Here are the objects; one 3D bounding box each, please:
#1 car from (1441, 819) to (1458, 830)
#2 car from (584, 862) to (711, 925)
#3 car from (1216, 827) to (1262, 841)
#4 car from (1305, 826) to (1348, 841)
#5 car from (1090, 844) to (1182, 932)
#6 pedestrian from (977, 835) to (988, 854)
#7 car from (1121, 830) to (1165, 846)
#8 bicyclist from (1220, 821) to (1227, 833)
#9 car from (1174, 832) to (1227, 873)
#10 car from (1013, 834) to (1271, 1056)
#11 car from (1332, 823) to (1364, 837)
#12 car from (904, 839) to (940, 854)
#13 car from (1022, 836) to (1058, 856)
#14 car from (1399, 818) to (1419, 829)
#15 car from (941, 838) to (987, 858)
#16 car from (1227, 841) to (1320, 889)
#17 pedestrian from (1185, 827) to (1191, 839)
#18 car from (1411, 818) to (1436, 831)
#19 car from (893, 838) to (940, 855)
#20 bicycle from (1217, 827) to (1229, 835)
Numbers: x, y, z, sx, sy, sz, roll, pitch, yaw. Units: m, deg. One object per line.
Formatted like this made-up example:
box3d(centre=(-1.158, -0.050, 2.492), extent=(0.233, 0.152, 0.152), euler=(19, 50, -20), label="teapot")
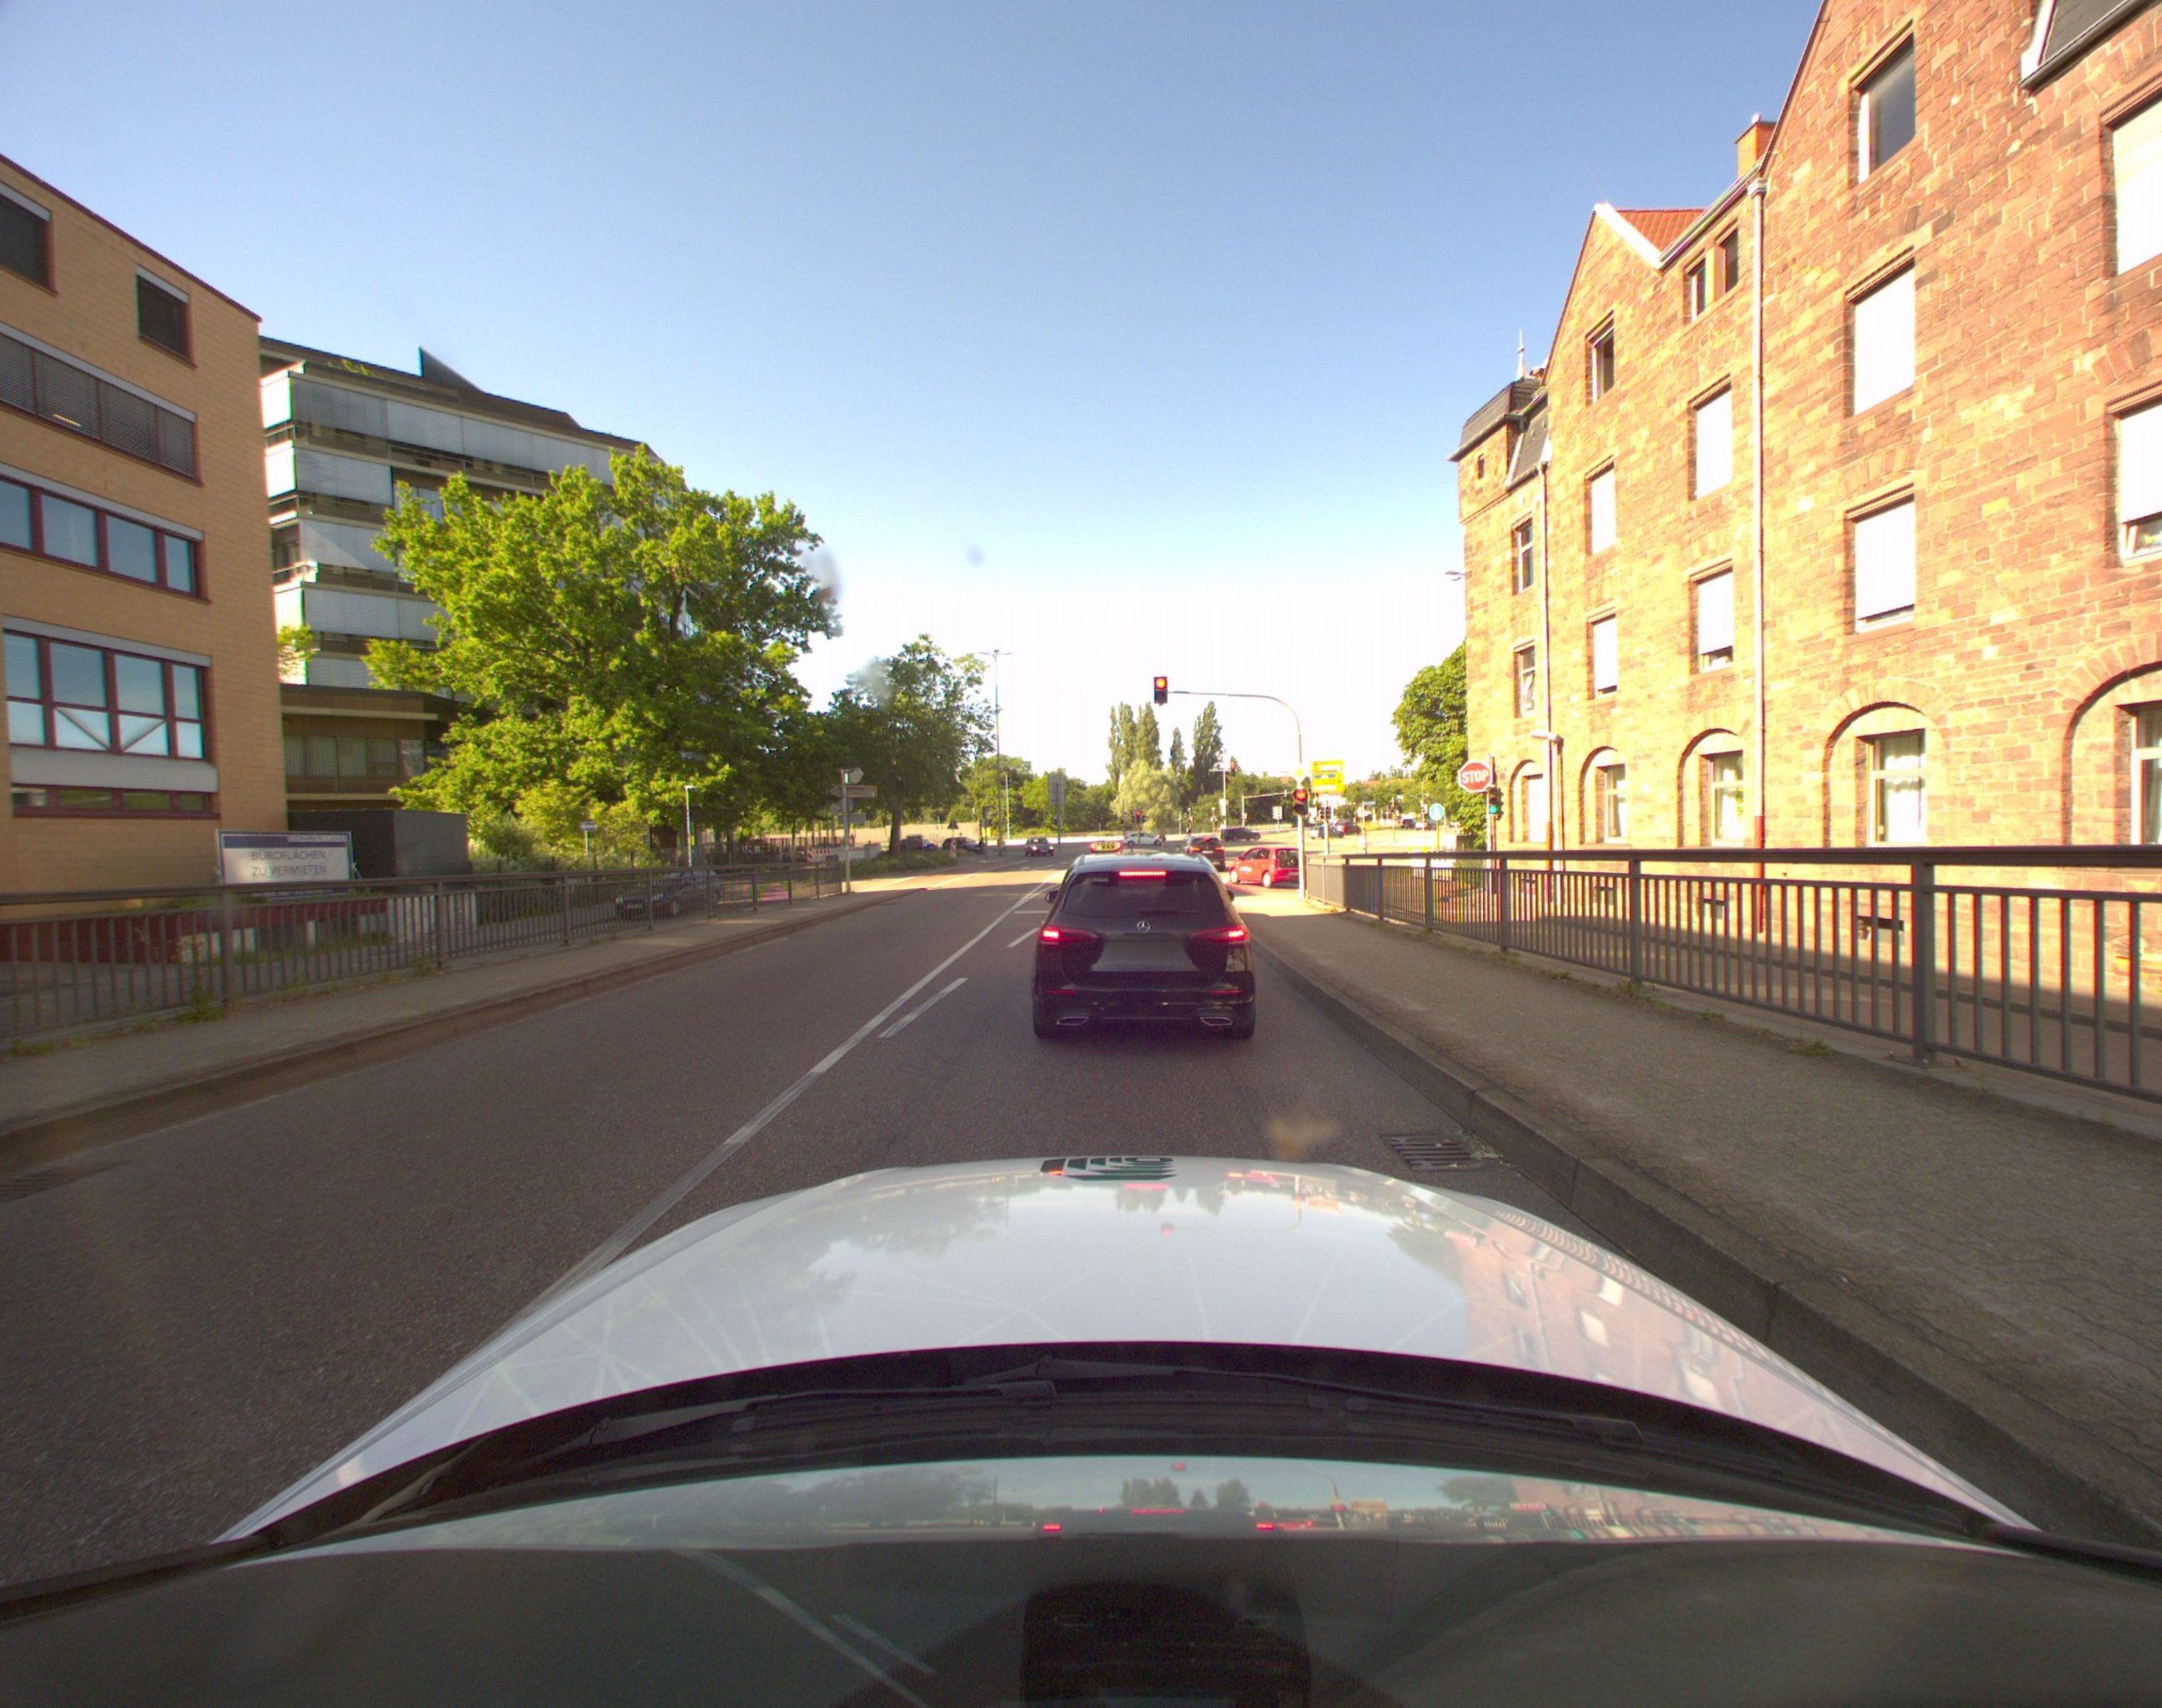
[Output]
box3d(centre=(55.862, -4.516, 123.349), extent=(1.975, 1.441, 4.322), euler=(-1, 3, 28), label="car")
box3d(centre=(-13.947, 1.203, 26.493), extent=(1.844, 1.692, 4.002), euler=(-2, 2, 2), label="car")
box3d(centre=(17.100, -2.173, 88.178), extent=(4.600, 1.294, 1.872), euler=(-4, 2, -23), label="car")
box3d(centre=(26.165, -2.193, 86.812), extent=(4.614, 1.294, 1.979), euler=(-4, 3, -35), label="car")
box3d(centre=(1.141, 0.606, 16.820), extent=(1.632, 1.529, 3.478), euler=(-2, 1, 4), label="car")
box3d(centre=(-8.296, -0.787, 68.383), extent=(0.700, 1.525, 0.746), euler=(-1, 1, 12), label="pedestrian")
box3d(centre=(6.116, -1.599, 80.566), extent=(4.283, 1.365, 2.002), euler=(-3, 2, 2), label="car")
box3d(centre=(19.165, -3.625, 109.849), extent=(0.520, 1.551, 0.812), euler=(-2, 1, 42), label="bicyclist")
box3d(centre=(5.832, -0.130, 40.244), extent=(1.718, 1.811, 4.293), euler=(0, 2, -4), label="car")
box3d(centre=(0.506, 0.648, 7.941), extent=(1.871, 1.613, 4.002), euler=(0, 0, 2), label="car")
box3d(centre=(32.157, -2.893, 97.936), extent=(1.974, 1.455, 4.581), euler=(-1, 3, 41), label="car")
box3d(centre=(-17.968, -0.846, 91.894), extent=(3.949, 1.547, 1.903), euler=(-1, -1, 40), label="car")
box3d(centre=(-3.214, -0.669, 63.053), extent=(1.746, 1.407, 4.176), euler=(-3, 2, -18), label="car")
box3d(centre=(46.772, -4.394, 116.136), extent=(1.764, 1.357, 4.105), euler=(-1, 3, 34), label="car")
box3d(centre=(-10.656, -0.596, 74.058), extent=(3.949, 1.623, 1.822), euler=(3, 4, 36), label="car")
box3d(centre=(6.863, 0.335, 29.414), extent=(1.726, 1.521, 3.465), euler=(-1, 3, -18), label="car")
box3d(centre=(14.062, -2.766, 106.772), extent=(0.446, 1.585, 0.504), euler=(-2, 1, 42), label="pedestrian")
box3d(centre=(45.210, -3.925, 107.465), extent=(1.974, 1.441, 4.855), euler=(-1, 3, 36), label="car")
box3d(centre=(-16.732, -0.779, 82.663), extent=(4.347, 1.592, 1.934), euler=(-1, 2, 28), label="car")
box3d(centre=(19.180, -3.113, 109.869), extent=(0.520, 1.050, 2.002), euler=(-2, 1, 42), label="bicycle")
